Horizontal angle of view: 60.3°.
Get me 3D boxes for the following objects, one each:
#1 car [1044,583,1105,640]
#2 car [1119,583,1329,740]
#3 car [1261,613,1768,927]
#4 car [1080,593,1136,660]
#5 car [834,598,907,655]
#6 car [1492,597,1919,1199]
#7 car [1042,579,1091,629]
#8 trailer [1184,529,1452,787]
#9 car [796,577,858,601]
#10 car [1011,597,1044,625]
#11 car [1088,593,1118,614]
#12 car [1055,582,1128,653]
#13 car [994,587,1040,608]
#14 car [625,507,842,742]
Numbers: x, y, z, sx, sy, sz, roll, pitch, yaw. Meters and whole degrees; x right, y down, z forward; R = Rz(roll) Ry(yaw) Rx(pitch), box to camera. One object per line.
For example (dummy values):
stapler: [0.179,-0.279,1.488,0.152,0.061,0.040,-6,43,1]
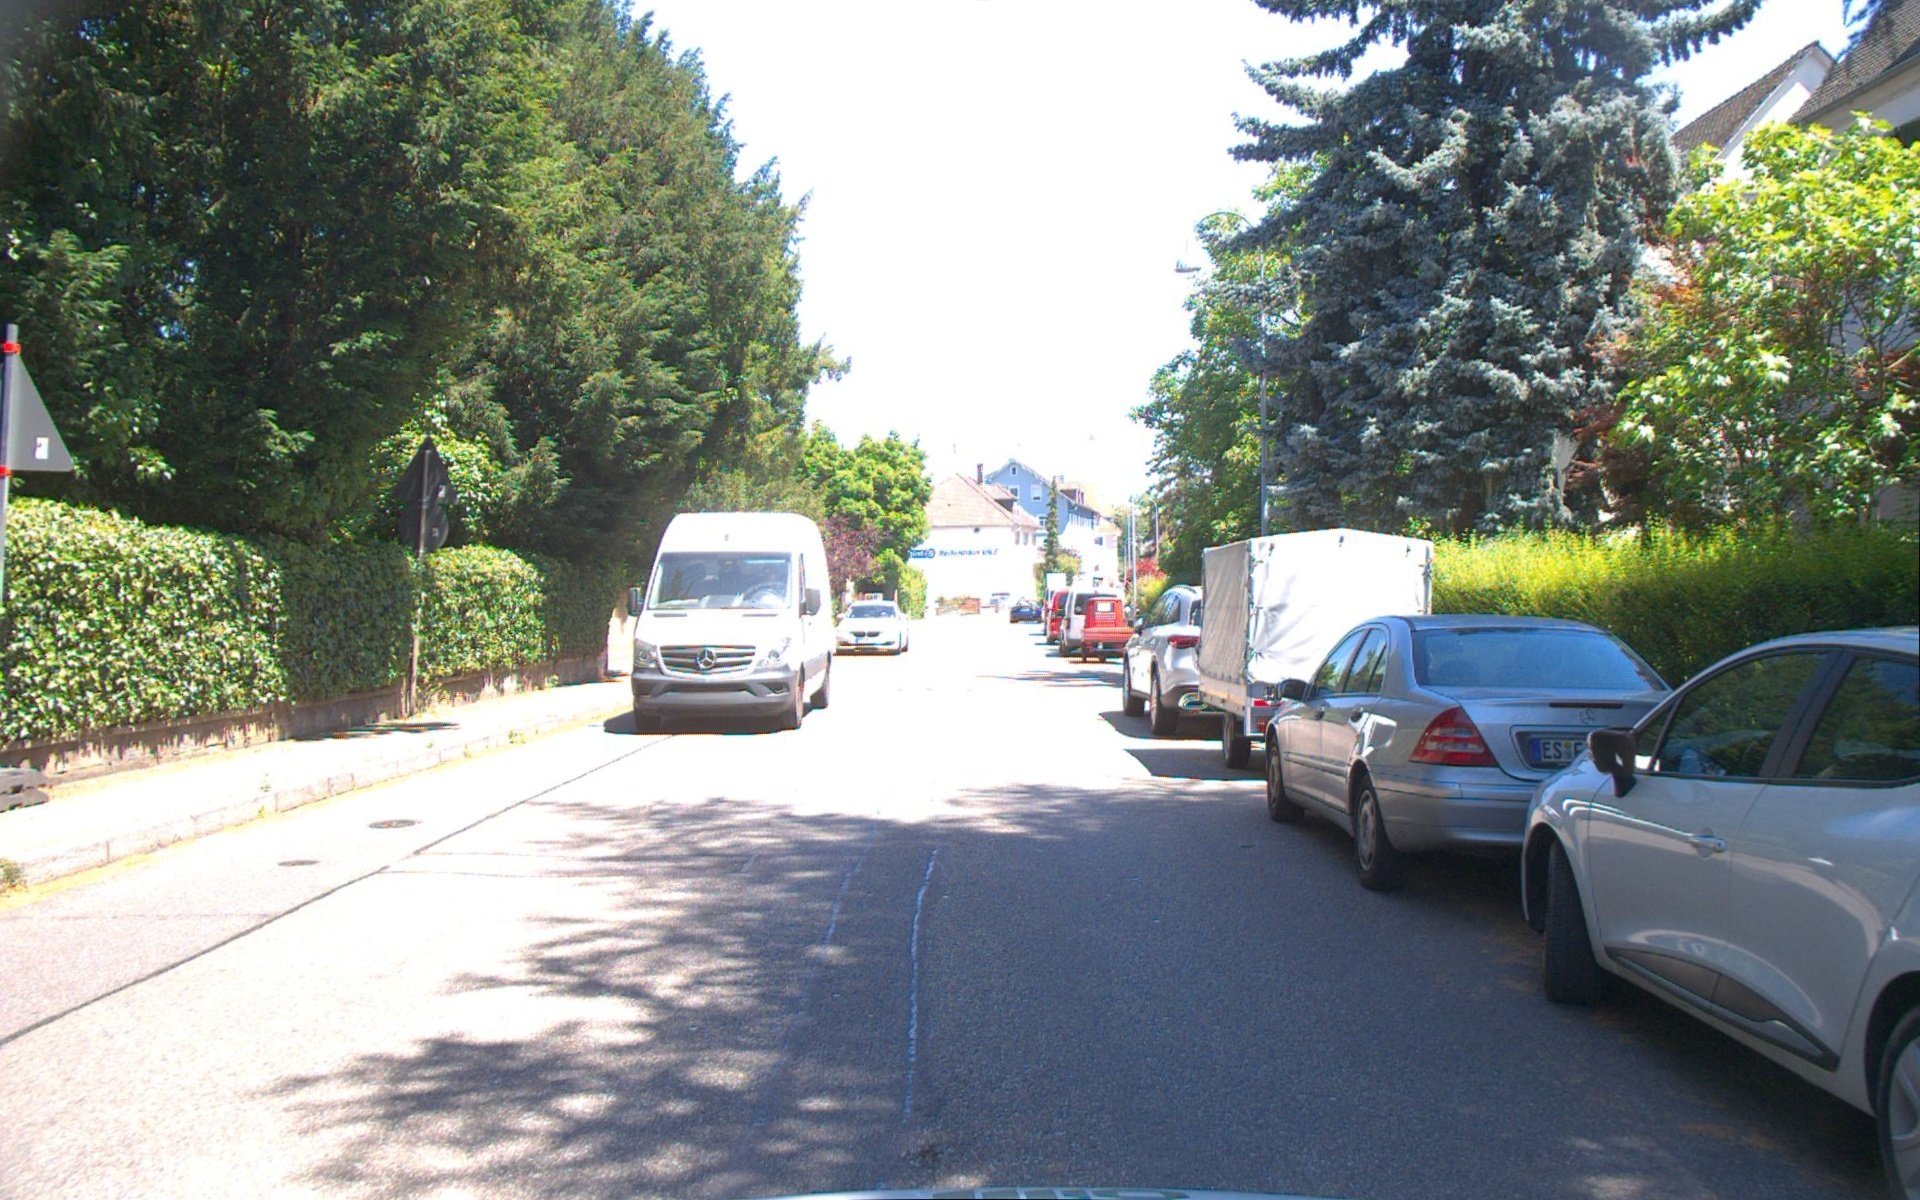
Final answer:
car: [3.725,0.352,54.423,1.863,1.758,4.393,1,0,2]
car: [3.042,0.635,19.987,1.735,1.660,4.604,1,1,-1]
car: [2.948,0.799,9.766,1.581,1.420,4.258,0,0,0]
car: [3.541,0.612,39.774,1.234,1.521,2.710,1,0,3]
car: [-2.440,0.705,46.037,1.826,1.407,4.604,-1,1,-1]
car: [3.081,0.750,5.127,1.581,1.495,4.064,1,0,0]
car: [4.357,0.156,68.053,1.863,1.958,4.720,-1,0,2]
trailer: [3.193,0.455,15.445,1.645,2.104,3.708,1,1,-1]
car: [-8.629,-0.743,107.867,3.906,1.537,1.800,0,0,-1]
car: [3.935,0.622,95.940,1.756,1.537,4.002,1,0,5]
car: [10.315,0.216,118.980,1.740,1.430,4.290,1,0,11]
car: [3.495,0.435,44.649,1.710,1.813,4.544,1,0,1]
car: [5.205,-0.237,150.634,4.041,1.805,1.830,0,1,7]
car: [-2.725,0.246,21.322,1.953,2.577,5.894,-1,0,0]
